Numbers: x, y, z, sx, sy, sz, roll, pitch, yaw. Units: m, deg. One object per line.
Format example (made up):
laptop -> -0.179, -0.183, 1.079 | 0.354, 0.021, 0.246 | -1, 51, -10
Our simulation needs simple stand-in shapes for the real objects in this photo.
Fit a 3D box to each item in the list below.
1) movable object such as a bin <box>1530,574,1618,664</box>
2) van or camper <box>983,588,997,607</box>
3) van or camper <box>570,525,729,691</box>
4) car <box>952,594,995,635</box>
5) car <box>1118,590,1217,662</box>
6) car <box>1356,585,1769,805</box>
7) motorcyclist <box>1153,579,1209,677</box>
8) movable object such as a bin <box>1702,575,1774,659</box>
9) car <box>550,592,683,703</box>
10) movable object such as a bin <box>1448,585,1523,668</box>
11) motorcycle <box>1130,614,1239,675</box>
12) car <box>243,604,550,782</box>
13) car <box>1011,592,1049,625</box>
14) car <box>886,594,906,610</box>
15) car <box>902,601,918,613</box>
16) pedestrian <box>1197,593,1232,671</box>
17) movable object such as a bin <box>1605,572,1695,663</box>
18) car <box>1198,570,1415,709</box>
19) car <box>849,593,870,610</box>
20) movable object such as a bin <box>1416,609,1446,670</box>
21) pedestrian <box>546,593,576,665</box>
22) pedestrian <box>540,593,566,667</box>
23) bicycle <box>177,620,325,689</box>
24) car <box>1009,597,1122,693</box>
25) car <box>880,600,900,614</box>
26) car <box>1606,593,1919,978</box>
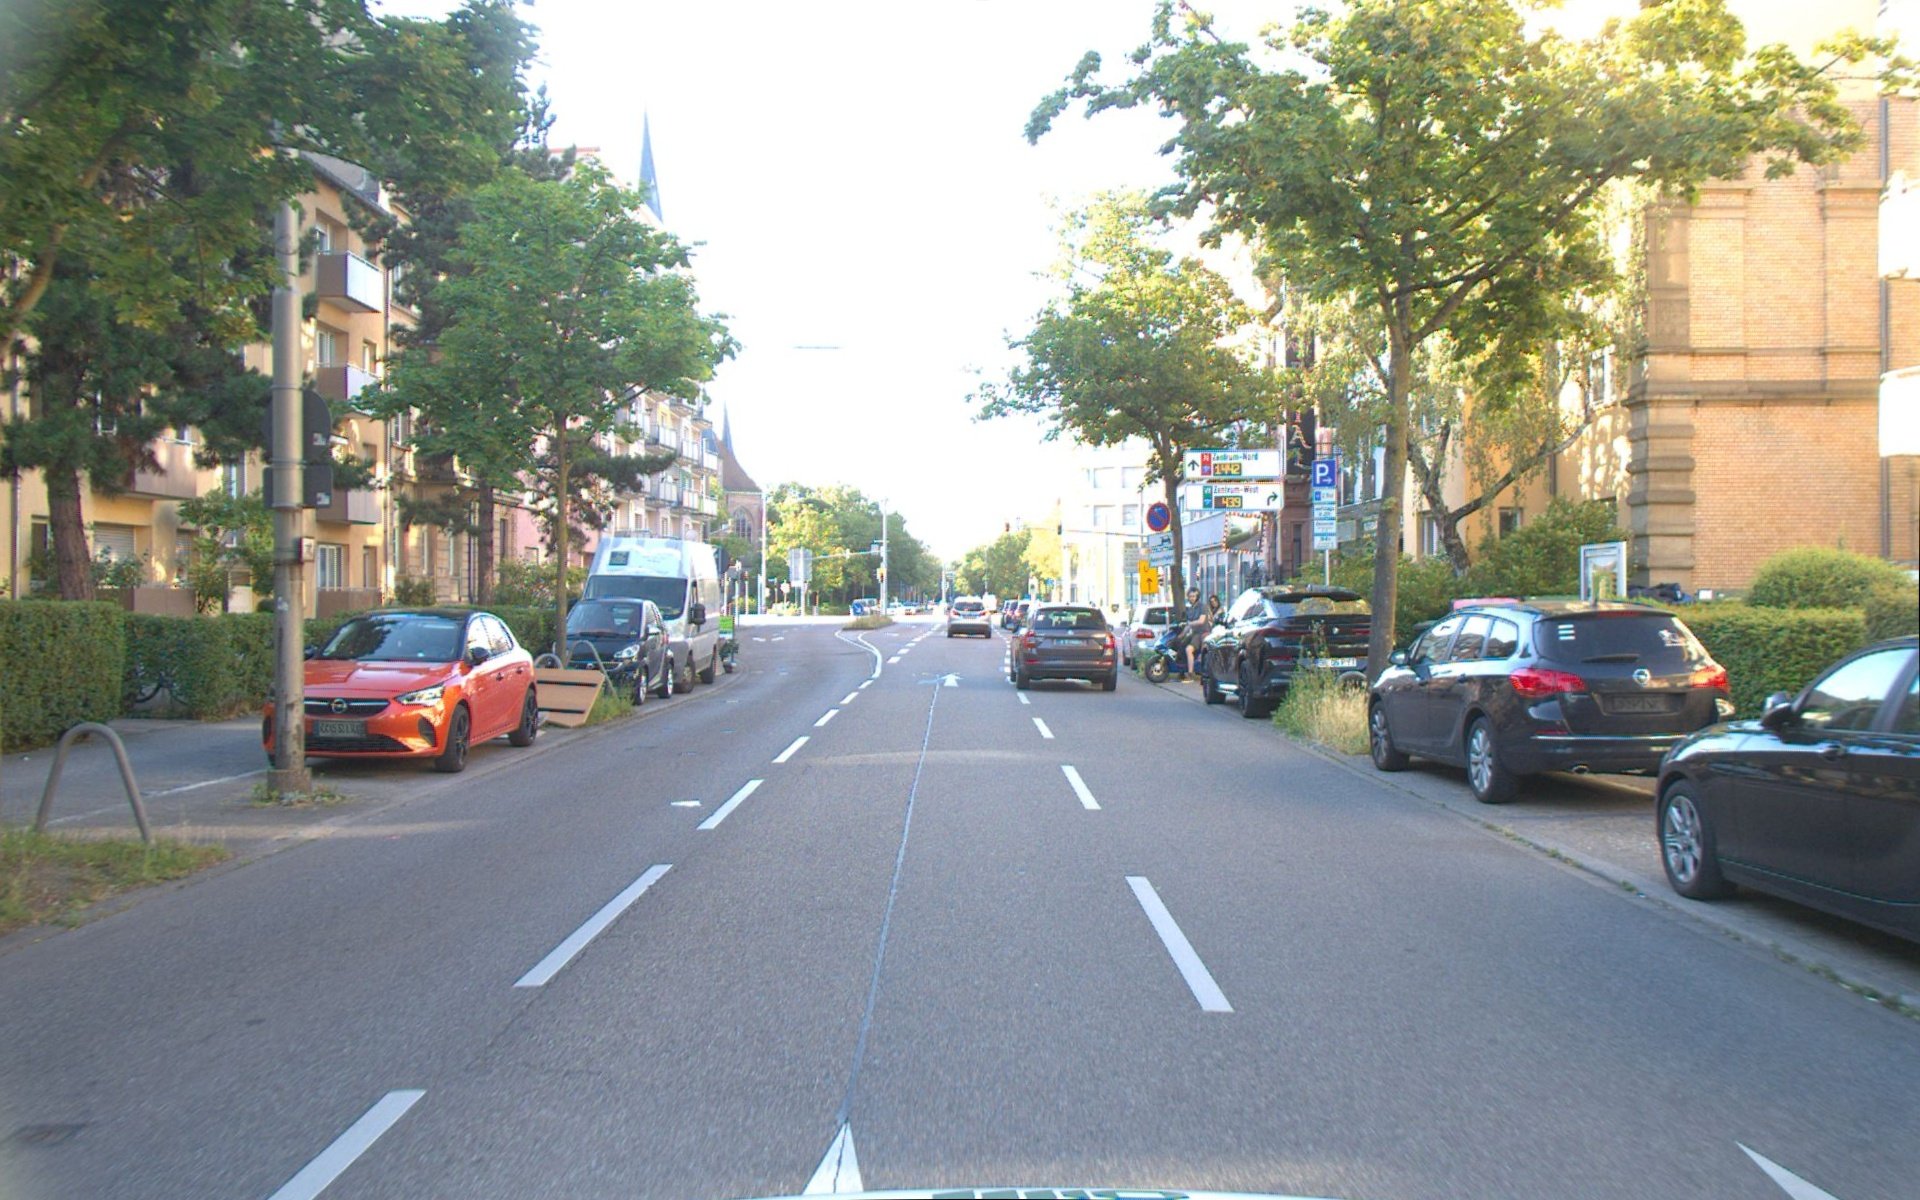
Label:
movable object such as a bin -> 11.122, 0.339, 29.994 | 1.134, 1.583, 0.992 | -1, 0, -10
van or camper -> 4.315, -0.413, 239.460 | 1.952, 2.686, 5.351 | -1, 0, 2
van or camper -> -5.584, 0.126, 30.527 | 1.995, 2.710, 6.012 | 1, 0, -3
car -> 0.530, 0.555, 66.105 | 1.672, 1.536, 4.309 | 0, 0, 0
car -> 4.830, 0.559, 39.057 | 1.817, 1.538, 4.835 | -2, 0, 1
car -> 4.766, 0.651, 13.828 | 1.682, 1.498, 4.430 | -1, 0, -2
motorcyclist -> 4.181, 0.525, 31.298 | 0.723, 1.809, 1.085 | 0, 0, -12
movable object such as a bin -> 13.978, 0.297, 29.700 | 1.117, 1.467, 0.993 | -1, 0, 28
car -> -5.211, 0.679, 25.390 | 1.374, 1.575, 2.762 | 1, 0, 1
movable object such as a bin -> 9.517, 0.478, 30.001 | 1.226, 1.467, 0.995 | -1, 0, 14
motorcycle -> 4.246, 0.832, 31.367 | 1.891, 1.089, 0.818 | 0, 0, -12
car -> -5.340, 0.805, 16.208 | 1.682, 1.477, 3.923 | 0, 1, 0
car -> 3.287, 0.393, 78.219 | 1.617, 1.510, 4.239 | 0, 0, 0
car -> -6.452, 0.205, 166.517 | 1.743, 1.490, 4.000 | -1, 0, 1
car -> -5.735, 0.771, 190.334 | 1.743, 1.257, 4.000 | -1, 0, 1
pedestrian -> 4.800, 0.600, 31.189 | 0.430, 1.455, 0.702 | 0, 0, -12
movable object such as a bin -> 12.438, 0.304, 29.828 | 1.134, 1.583, 0.992 | -1, 0, -10
car -> 4.616, 0.476, 22.791 | 1.908, 1.684, 4.795 | -1, 0, -1
car -> -9.718, 0.138, 160.491 | 1.743, 1.676, 4.000 | -1, 0, 1
movable object such as a bin -> 8.510, 0.705, 29.900 | 0.483, 1.077, 0.548 | -1, 0, 12
pedestrian -> -9.459, 0.690, 39.210 | 0.593, 1.681, 0.696 | -1, 0, -6
pedestrian -> -9.451, 0.687, 38.433 | 0.470, 1.681, 0.724 | -1, 0, -6
bicycle -> -10.386, 0.790, 24.243 | 1.896, 0.941, 0.582 | 2, 0, 1
car -> 1.763, 0.727, 28.767 | 1.672, 1.482, 4.158 | 1, 0, 0
car -> -6.746, 0.696, 159.943 | 1.743, 1.257, 4.000 | -1, 0, 1
car -> 4.657, 0.735, 7.402 | 1.734, 1.474, 4.484 | -2, 0, 0
